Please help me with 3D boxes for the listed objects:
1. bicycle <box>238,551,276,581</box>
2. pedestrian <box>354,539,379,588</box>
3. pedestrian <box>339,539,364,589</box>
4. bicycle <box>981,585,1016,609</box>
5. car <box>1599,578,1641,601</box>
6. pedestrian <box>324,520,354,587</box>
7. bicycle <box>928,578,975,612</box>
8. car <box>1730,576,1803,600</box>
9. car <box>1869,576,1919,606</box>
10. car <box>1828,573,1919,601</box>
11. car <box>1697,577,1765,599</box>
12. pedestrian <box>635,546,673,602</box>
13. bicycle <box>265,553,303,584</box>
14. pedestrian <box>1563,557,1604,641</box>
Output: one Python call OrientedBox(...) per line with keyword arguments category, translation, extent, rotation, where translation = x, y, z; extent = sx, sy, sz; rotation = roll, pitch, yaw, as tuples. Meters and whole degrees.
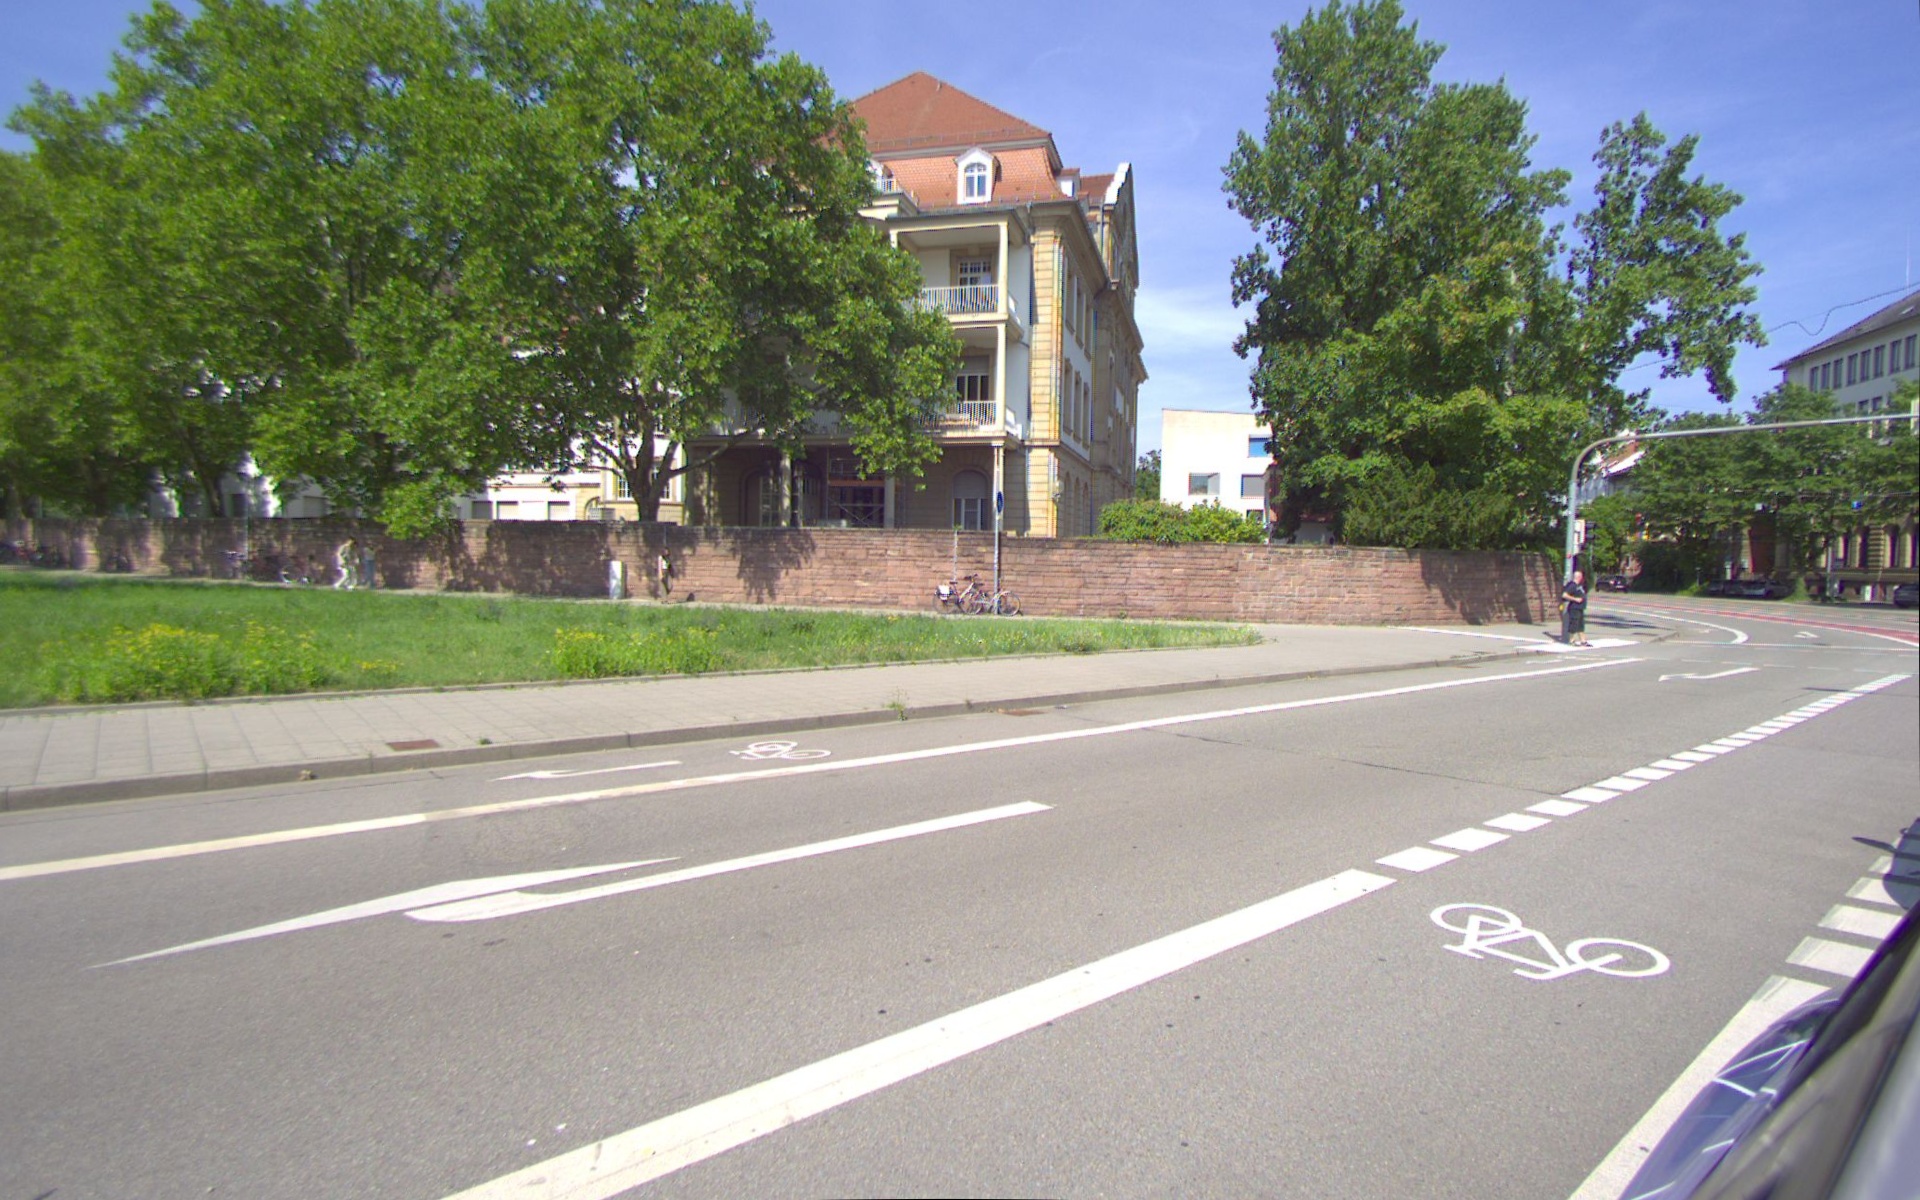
OrientedBox(category="bicycle", translation=(-25.379, -1.232, 36.524), extent=(1.432, 1.046, 0.444), rotation=(3, 2, 24))
OrientedBox(category="pedestrian", translation=(-19.565, -1.220, 33.352), extent=(0.700, 1.597, 0.516), rotation=(3, 3, 41))
OrientedBox(category="pedestrian", translation=(-19.689, -1.173, 32.750), extent=(0.700, 1.597, 0.516), rotation=(3, 3, 41))
OrientedBox(category="bicycle", translation=(1.046, -0.081, 27.867), extent=(0.929, 0.609, 0.275), rotation=(1, 2, -2))
OrientedBox(category="car", translation=(57.567, -0.926, 88.348), extent=(1.973, 1.915, 3.979), rotation=(0, 1, 17))
OrientedBox(category="pedestrian", translation=(-19.182, -1.435, 31.257), extent=(0.586, 2.038, 0.522), rotation=(1, 2, 9))
OrientedBox(category="bicycle", translation=(-0.231, -0.144, 27.629), extent=(1.202, 0.894, 0.395), rotation=(0, 2, -21))
OrientedBox(category="car", translation=(62.310, -0.910, 78.252), extent=(3.941, 1.682, 1.993), rotation=(-1, 3, 14))
OrientedBox(category="car", translation=(56.766, -0.543, 59.858), extent=(3.942, 1.682, 1.992), rotation=(0, 3, 15))
OrientedBox(category="car", translation=(57.900, -0.828, 64.085), extent=(3.940, 1.682, 1.993), rotation=(-1, 3, 14))
OrientedBox(category="car", translation=(63.240, -0.976, 83.059), extent=(3.943, 1.682, 1.992), rotation=(0, 3, 16))
OrientedBox(category="pedestrian", translation=(-8.838, -0.762, 29.244), extent=(0.900, 1.567, 0.501), rotation=(2, 2, 13))
OrientedBox(category="bicycle", translation=(-23.962, -1.121, 35.876), extent=(1.432, 1.046, 0.444), rotation=(3, 2, 24))
OrientedBox(category="pedestrian", translation=(15.587, -0.033, 25.285), extent=(0.790, 2.038, 0.608), rotation=(2, 2, 35))
